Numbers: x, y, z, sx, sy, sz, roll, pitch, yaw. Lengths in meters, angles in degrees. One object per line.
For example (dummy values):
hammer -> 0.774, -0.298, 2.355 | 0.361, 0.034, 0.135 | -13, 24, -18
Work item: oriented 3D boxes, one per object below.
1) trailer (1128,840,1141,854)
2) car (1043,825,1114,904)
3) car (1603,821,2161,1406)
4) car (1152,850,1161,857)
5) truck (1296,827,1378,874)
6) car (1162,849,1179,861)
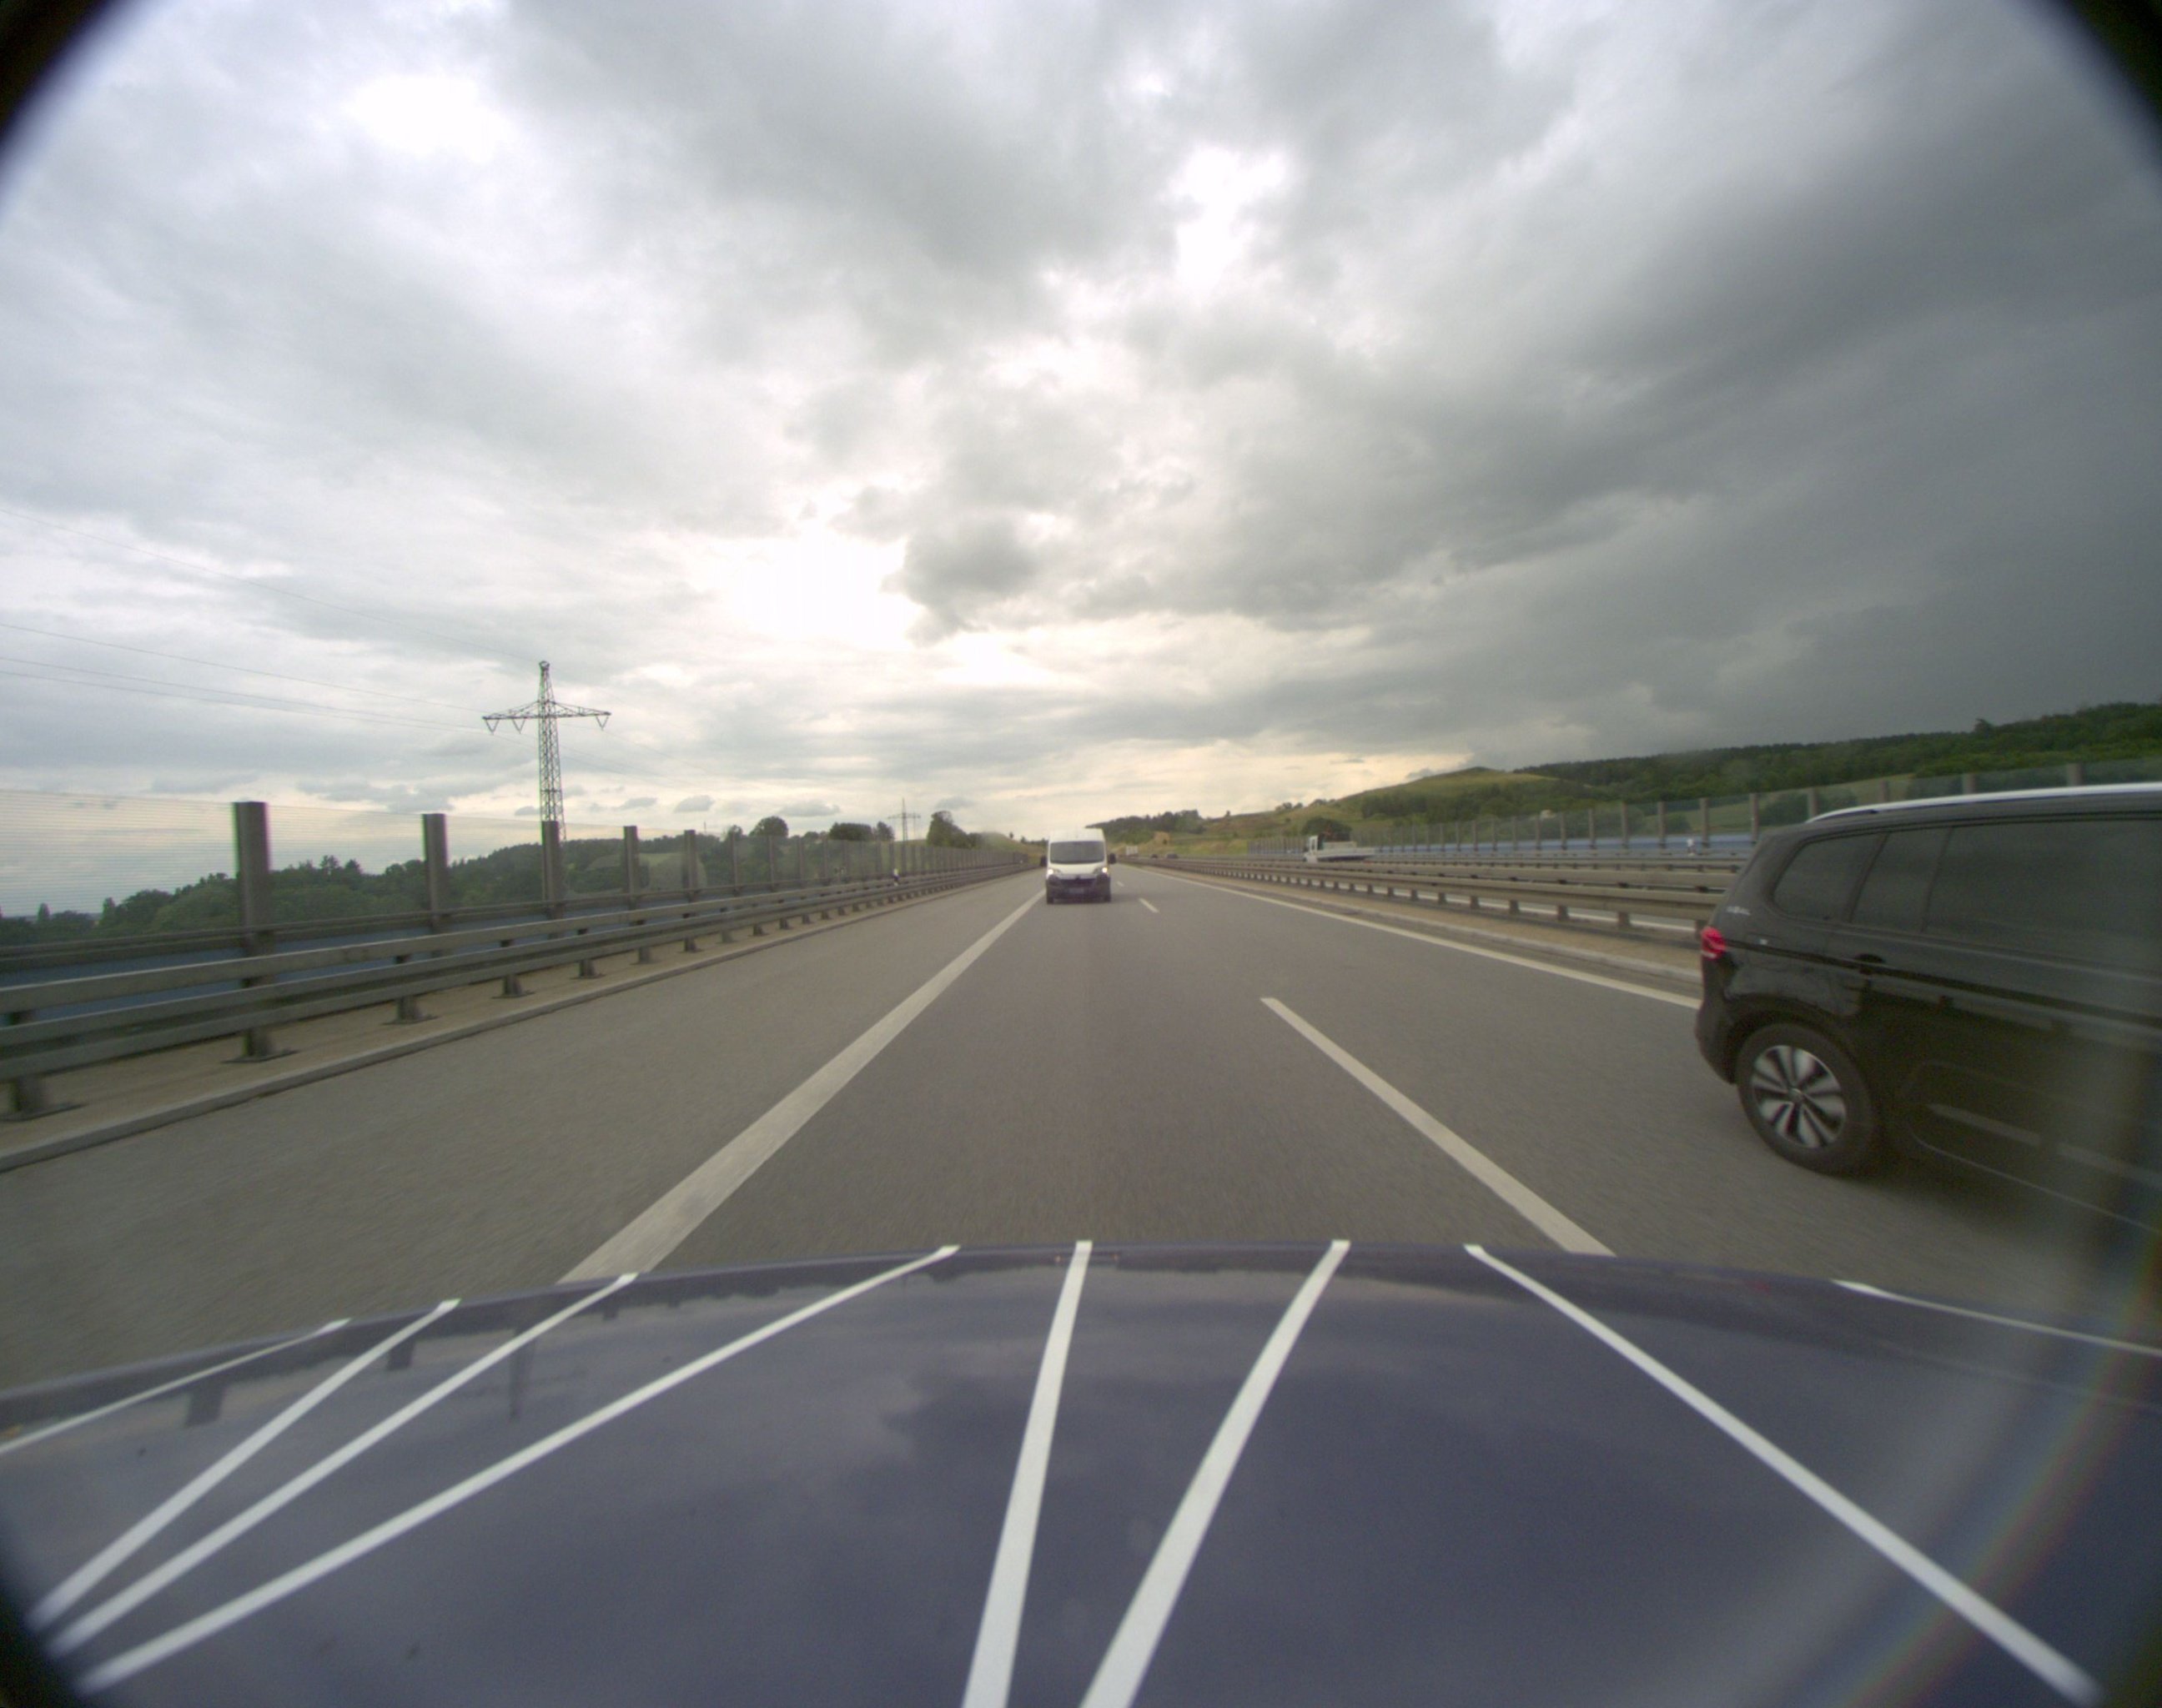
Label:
trailer -> 16.163, -2.020, 230.103 | 2.925, 3.902, 14.274 | -2, 0, 1
car -> 0.017, 0.346, 26.709 | 2.132, 2.411, 6.112 | -1, 0, 2
car -> 4.017, 0.719, 1.766 | 1.901, 1.661, 5.396 | -2, 0, 0
car -> 16.717, -0.052, 168.984 | 1.635, 1.401, 4.000 | -2, 0, 1
truck -> 14.666, -0.191, 44.084 | 2.278, 2.417, 7.451 | -2, 0, 1
car -> 11.147, 0.105, 94.806 | 1.758, 1.483, 4.000 | -2, 0, 1
